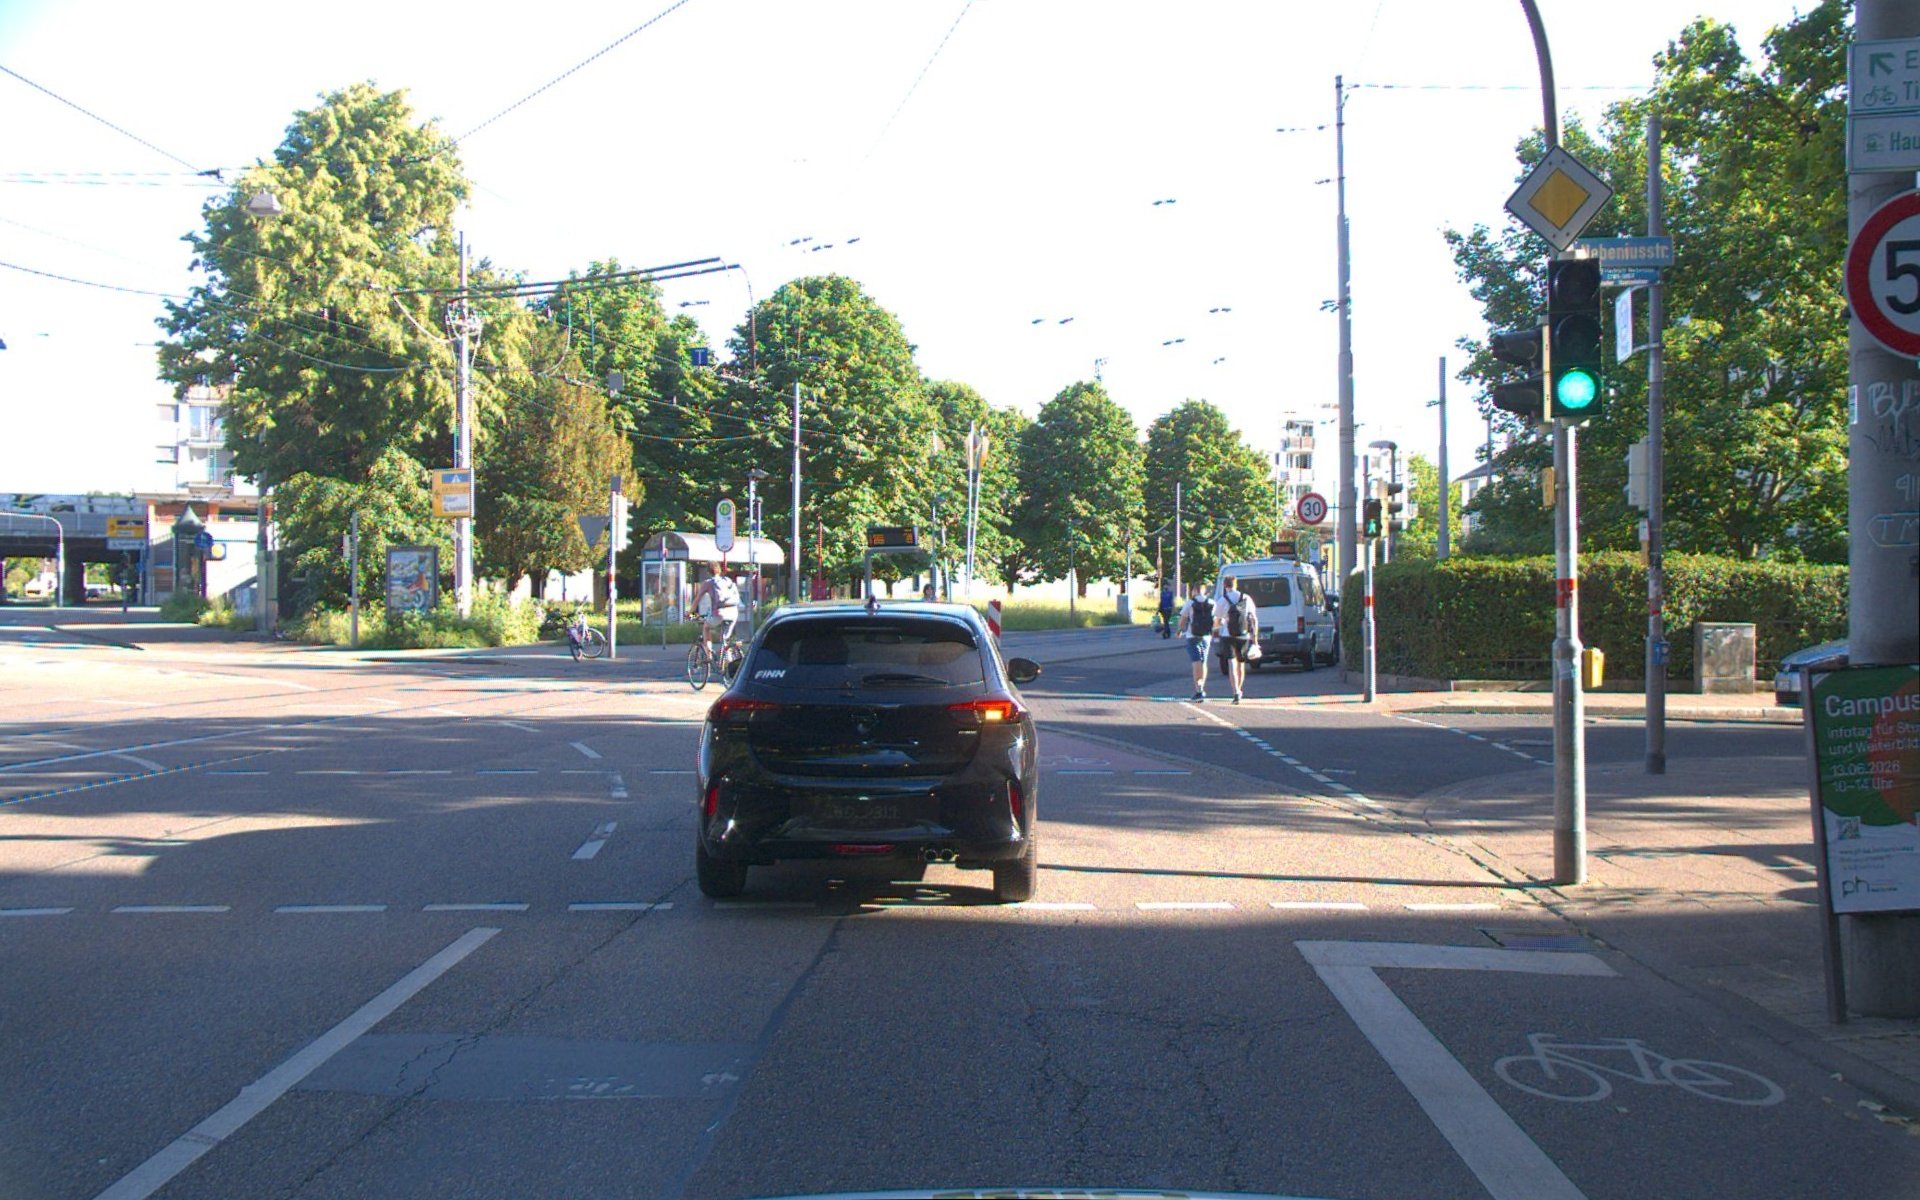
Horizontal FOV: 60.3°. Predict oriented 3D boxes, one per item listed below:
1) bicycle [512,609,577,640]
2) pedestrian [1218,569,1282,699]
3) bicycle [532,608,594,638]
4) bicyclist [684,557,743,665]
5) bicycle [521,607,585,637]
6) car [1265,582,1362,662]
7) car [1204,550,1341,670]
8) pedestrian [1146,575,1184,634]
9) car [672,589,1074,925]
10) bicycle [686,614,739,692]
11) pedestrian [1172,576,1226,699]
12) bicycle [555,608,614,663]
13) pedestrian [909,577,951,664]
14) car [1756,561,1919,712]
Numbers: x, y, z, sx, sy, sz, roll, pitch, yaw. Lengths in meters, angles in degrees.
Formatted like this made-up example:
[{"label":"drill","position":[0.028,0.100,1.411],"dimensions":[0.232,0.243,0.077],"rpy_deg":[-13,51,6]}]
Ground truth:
[{"label":"bicycle","position":[-12.860,0.754,51.162],"dimensions":[1.837,0.922,0.660],"rpy_deg":[0,0,4]},{"label":"pedestrian","position":[4.262,0.485,24.325],"dimensions":[0.691,1.878,0.698],"rpy_deg":[0,0,37]},{"label":"bicycle","position":[-12.720,0.737,53.028],"dimensions":[1.837,0.922,0.660],"rpy_deg":[0,0,4]},{"label":"bicyclist","position":[-3.654,0.155,24.449],"dimensions":[0.825,1.536,1.365],"rpy_deg":[0,0,-11]},{"label":"bicycle","position":[-12.819,0.691,52.150],"dimensions":[1.837,0.922,0.660],"rpy_deg":[0,0,4]},{"label":"car","position":[8.453,0.483,39.361],"dimensions":[1.763,1.794,3.892],"rpy_deg":[0,0,20]},{"label":"car","position":[6.570,0.216,34.442],"dimensions":[2.046,2.317,4.306],"rpy_deg":[1,-1,21]},{"label":"pedestrian","position":[6.362,0.130,51.348],"dimensions":[0.939,1.824,0.995],"rpy_deg":[0,0,23]},{"label":"car","position":[-0.431,0.675,9.231],"dimensions":[1.764,1.466,3.938],"rpy_deg":[0,0,-2]},{"label":"bicycle","position":[-3.678,0.761,24.508],"dimensions":[0.655,1.078,2.076],"rpy_deg":[0,0,-12]},{"label":"pedestrian","position":[3.571,0.550,24.730],"dimensions":[0.684,1.823,0.617],"rpy_deg":[0,0,-3]},{"label":"bicycle","position":[-7.755,0.716,34.228],"dimensions":[0.808,1.078,1.883],"rpy_deg":[0,0,-1]},{"label":"pedestrian","position":[-0.606,0.406,33.239],"dimensions":[0.687,1.722,0.725],"rpy_deg":[0,0,-14]},{"label":"car","position":[12.596,0.486,20.986],"dimensions":[4.087,1.846,1.807],"rpy_deg":[0,-3,5]}]
